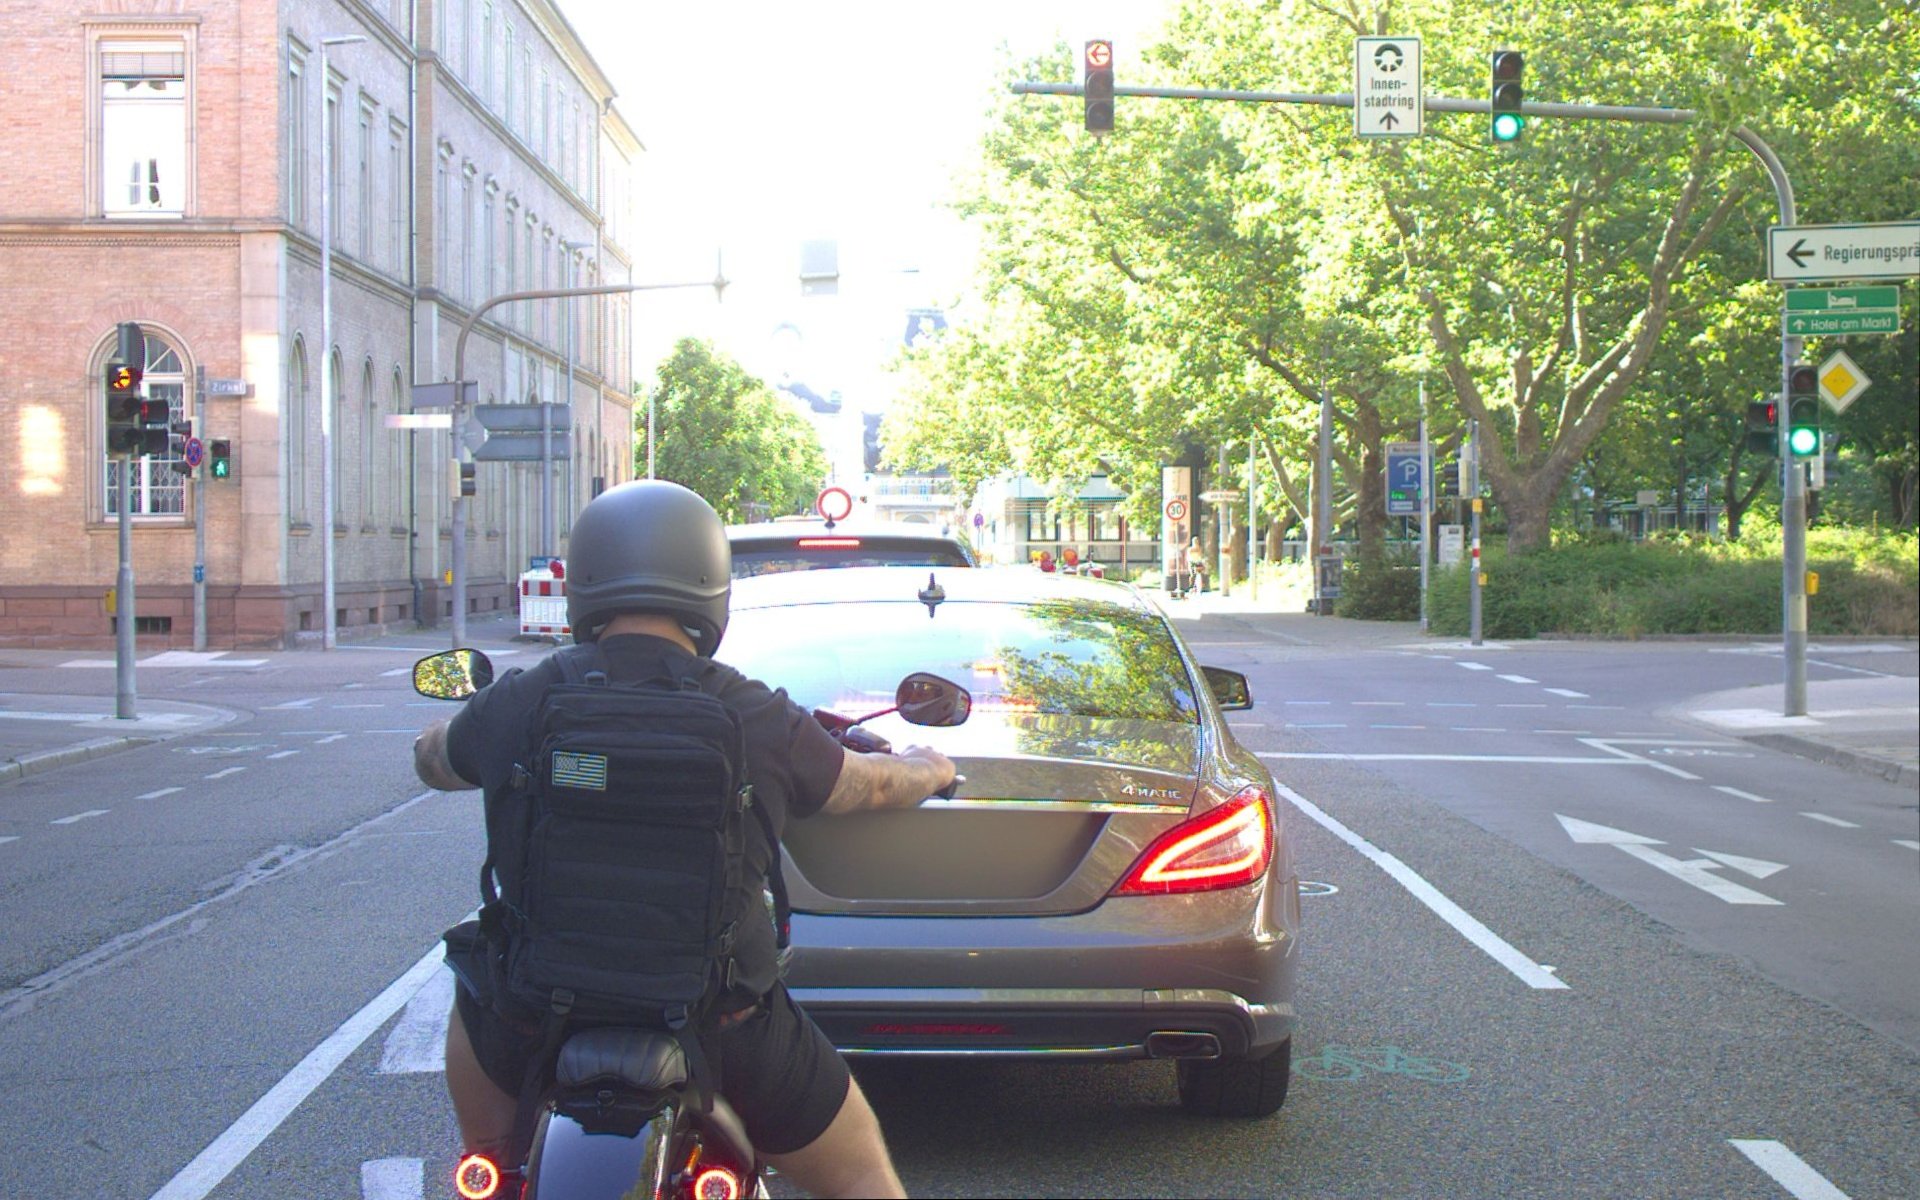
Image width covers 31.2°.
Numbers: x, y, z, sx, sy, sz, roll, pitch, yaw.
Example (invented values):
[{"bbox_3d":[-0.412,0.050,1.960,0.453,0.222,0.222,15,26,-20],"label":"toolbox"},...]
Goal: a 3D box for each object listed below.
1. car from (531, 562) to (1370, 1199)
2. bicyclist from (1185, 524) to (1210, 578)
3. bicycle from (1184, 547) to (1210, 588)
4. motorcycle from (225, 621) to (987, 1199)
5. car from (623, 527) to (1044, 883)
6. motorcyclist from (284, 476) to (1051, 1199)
[{"bbox_3d":[-0.134,0.626,9.931,1.902,1.436,4.289,0,1,-3],"label":"car"},{"bbox_3d":[6.921,-1.430,100.237,0.716,1.577,0.936,1,0,4],"label":"bicyclist"},{"bbox_3d":[6.910,-0.957,100.189,0.716,1.168,2.176,1,1,3],"label":"bicycle"},{"bbox_3d":[-0.469,0.736,5.544,0.962,1.352,2.320,1,1,-1],"label":"motorcycle"},{"bbox_3d":[-0.650,0.416,16.775,1.813,1.530,3.849,0,1,-3],"label":"car"},{"bbox_3d":[-0.419,0.617,5.273,1.061,1.577,0.908,1,0,-1],"label":"motorcyclist"}]
